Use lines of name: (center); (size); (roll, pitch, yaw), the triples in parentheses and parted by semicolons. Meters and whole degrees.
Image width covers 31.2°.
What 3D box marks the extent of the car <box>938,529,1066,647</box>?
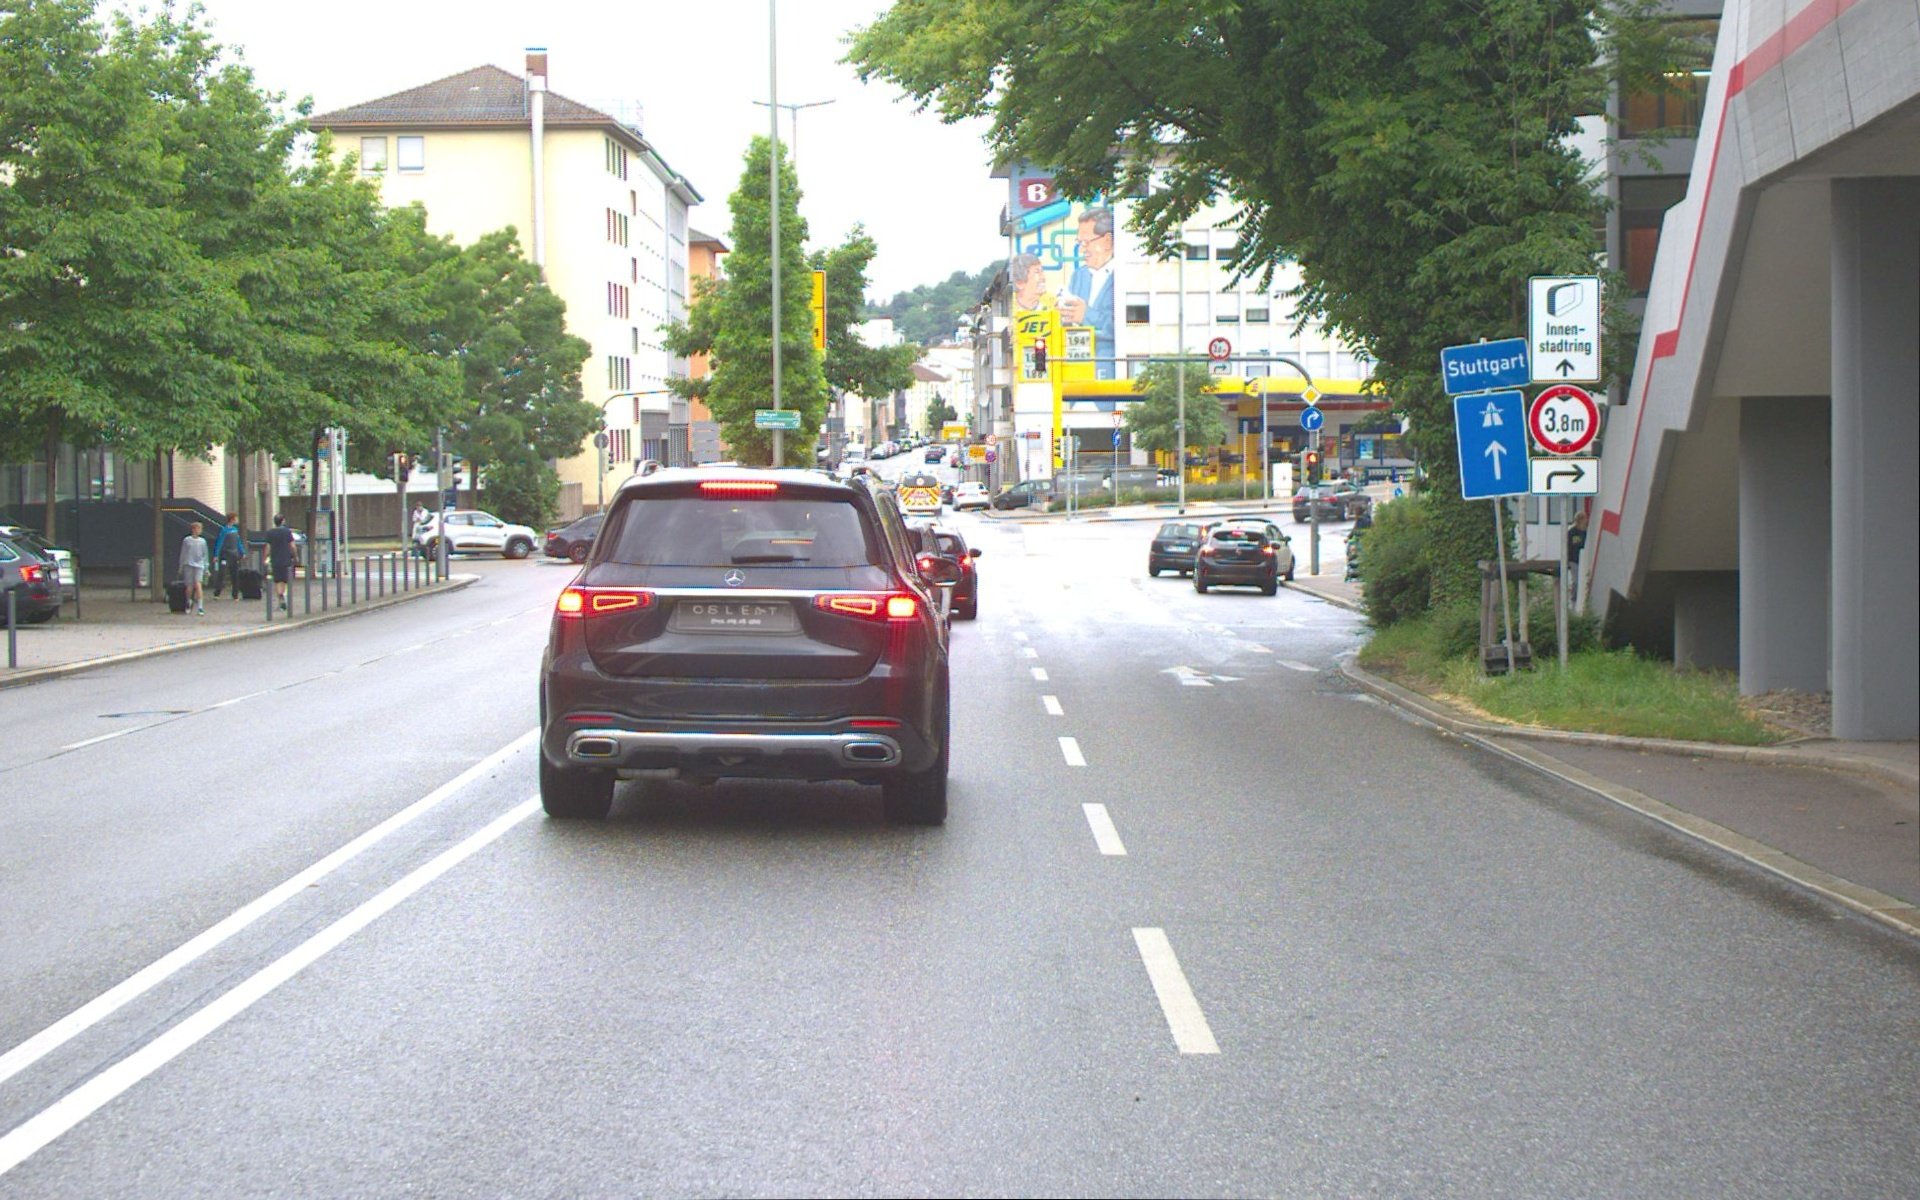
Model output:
car: (0.619, -0.201, 53.237); (1.703, 1.710, 3.444); (2, 1, -3)

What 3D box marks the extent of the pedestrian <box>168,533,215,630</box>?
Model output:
pedestrian: (-13.532, -0.329, 60.552); (0.676, 1.691, 0.479); (2, 1, -1)

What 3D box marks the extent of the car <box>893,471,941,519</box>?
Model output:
car: (-1.878, -4.586, 150.011); (1.993, 2.006, 4.001); (2, 2, -1)

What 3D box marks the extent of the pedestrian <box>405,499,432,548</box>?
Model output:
pedestrian: (-16.550, -2.341, 105.066); (0.711, 1.457, 0.598); (2, 0, -1)

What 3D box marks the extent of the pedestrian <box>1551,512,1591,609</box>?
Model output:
pedestrian: (9.743, -0.636, 54.816); (0.551, 1.527, 0.488); (2, 0, 6)

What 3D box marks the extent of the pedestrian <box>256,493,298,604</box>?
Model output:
pedestrian: (-12.516, -0.949, 63.027); (0.587, 2.007, 0.749); (2, 0, -2)

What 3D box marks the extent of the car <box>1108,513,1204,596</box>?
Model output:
car: (4.898, -1.140, 86.400); (1.993, 2.007, 4.000); (2, 1, -2)

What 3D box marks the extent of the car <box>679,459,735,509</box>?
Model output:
car: (-10.128, -4.646, 138.120); (1.993, 1.868, 5.142); (2, 1, -2)

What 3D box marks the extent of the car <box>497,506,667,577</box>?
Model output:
car: (-10.892, -1.691, 98.833); (4.803, 2.006, 2.001); (0, 2, -7)

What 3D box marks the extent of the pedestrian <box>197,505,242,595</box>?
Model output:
pedestrian: (-14.441, -0.966, 67.056); (0.688, 1.719, 0.754); (2, 0, -1)

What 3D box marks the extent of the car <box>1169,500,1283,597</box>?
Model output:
car: (5.718, -1.090, 74.214); (1.993, 2.007, 4.000); (1, 0, -2)

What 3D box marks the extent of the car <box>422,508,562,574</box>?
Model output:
car: (-14.013, -1.761, 102.858); (3.986, 1.936, 2.001); (0, 1, -12)

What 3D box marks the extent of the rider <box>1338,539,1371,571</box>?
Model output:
rider: (9.179, -1.048, 79.936); (0.631, 0.737, 0.695); (2, 1, 16)

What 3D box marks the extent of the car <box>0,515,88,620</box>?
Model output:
car: (-16.201, -0.557, 54.356); (4.415, 1.568, 2.001); (1, 3, -5)

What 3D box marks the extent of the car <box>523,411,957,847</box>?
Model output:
car: (-1.090, 0.114, 18.237); (1.993, 2.007, 4.000); (2, 1, -1)

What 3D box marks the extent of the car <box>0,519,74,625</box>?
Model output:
car: (-15.885, -0.444, 52.215); (4.467, 1.581, 2.001); (0, 1, -6)

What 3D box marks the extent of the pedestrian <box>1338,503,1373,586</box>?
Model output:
pedestrian: (9.203, -1.279, 79.942); (0.663, 1.911, 0.728); (2, 0, 14)
